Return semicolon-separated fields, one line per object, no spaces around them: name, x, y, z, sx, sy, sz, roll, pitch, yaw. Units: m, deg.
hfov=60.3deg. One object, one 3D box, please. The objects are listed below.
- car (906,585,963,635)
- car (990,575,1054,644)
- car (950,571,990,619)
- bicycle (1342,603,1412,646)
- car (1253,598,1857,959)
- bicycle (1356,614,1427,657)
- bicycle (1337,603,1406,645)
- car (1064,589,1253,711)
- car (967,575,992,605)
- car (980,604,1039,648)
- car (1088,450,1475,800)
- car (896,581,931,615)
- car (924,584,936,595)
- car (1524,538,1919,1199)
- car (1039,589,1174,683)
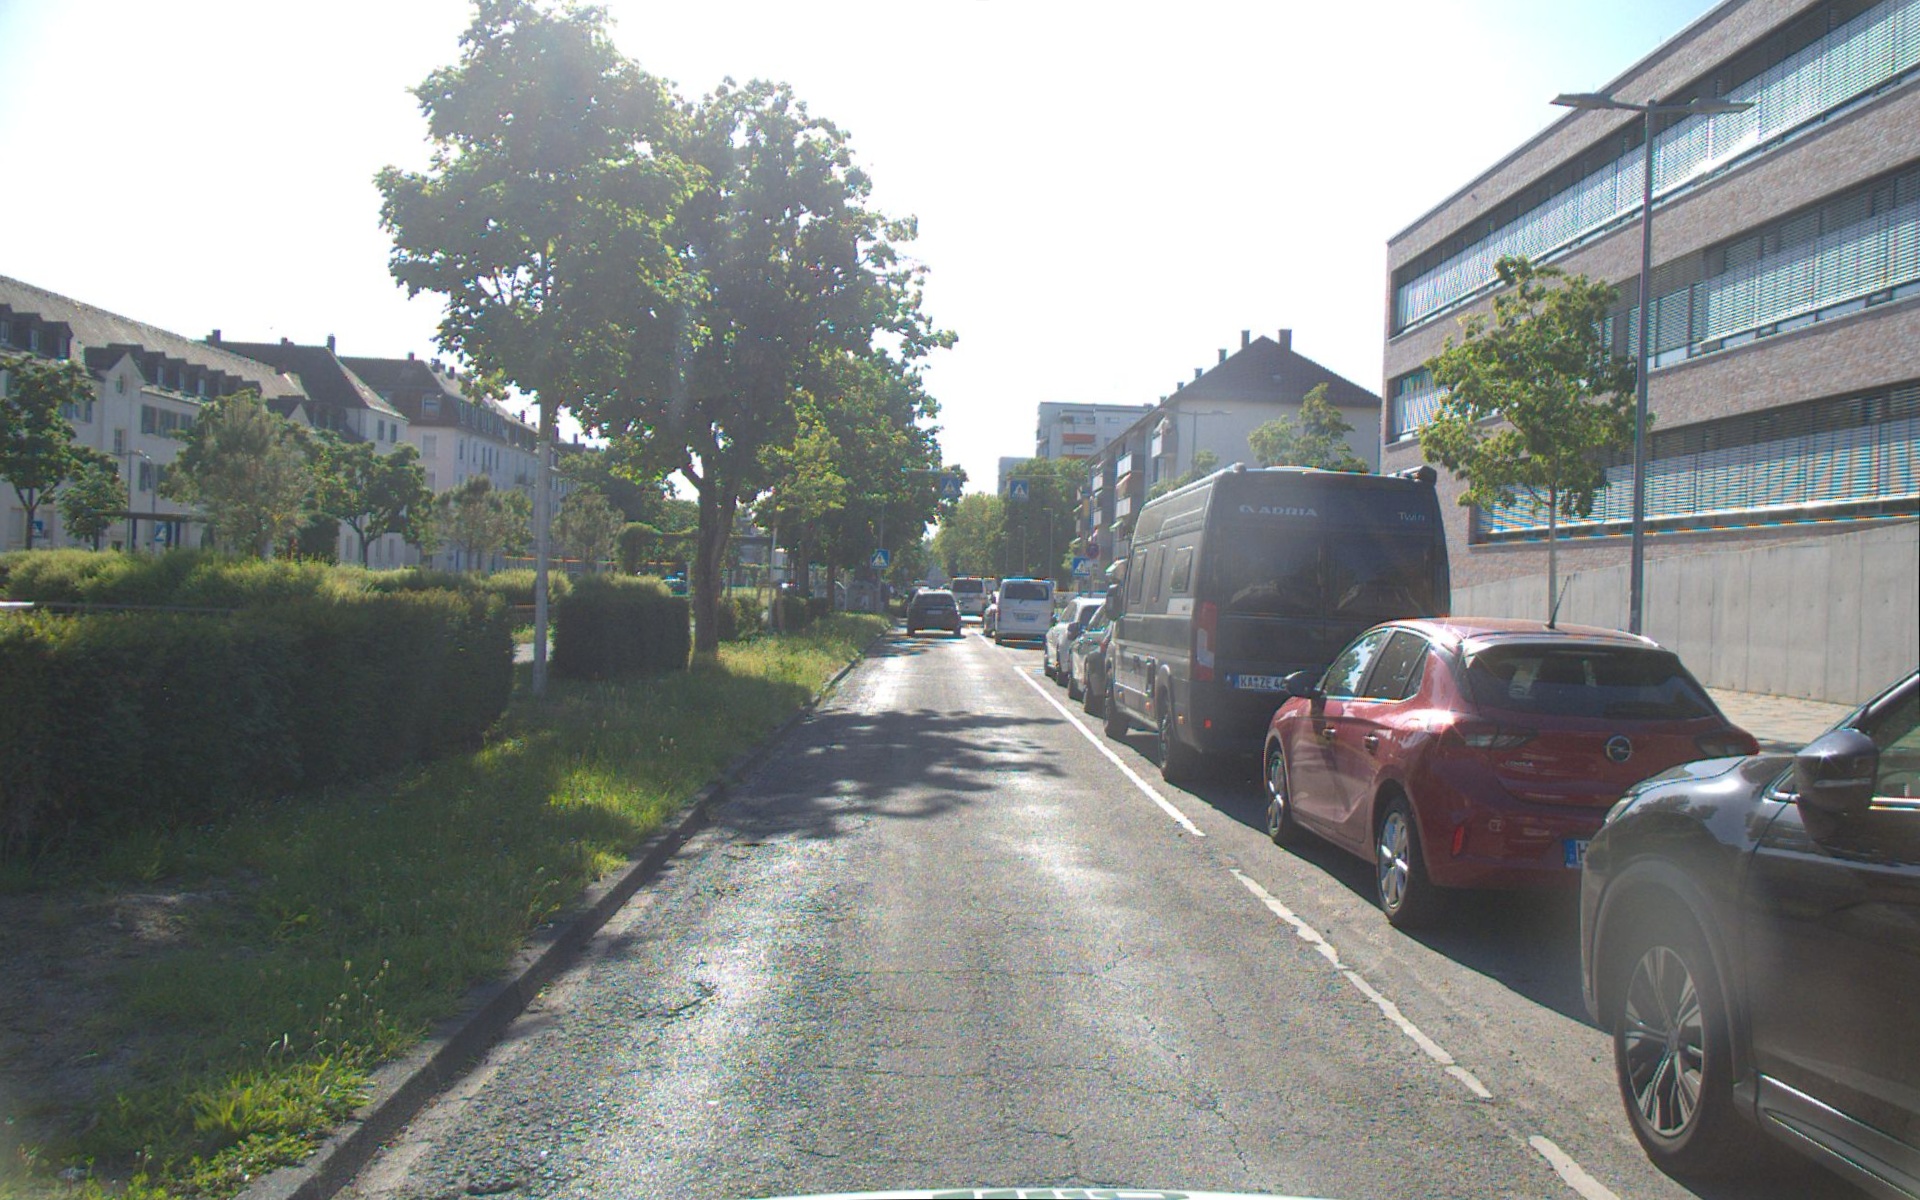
car;-0.844;0.299;54.663;1.758;1.536;3.999;2;0;-1
car;1.783;0.250;48.946;1.757;1.887;4.414;2;1;1
car;0.458;-0.252;77.631;1.758;2.159;3.999;2;0;-1
bicycle;11.312;0.667;44.876;1.758;1.127;0.500;-1;0;-4
car;2.896;0.763;9.033;1.758;1.480;3.948;1;0;-2
bicycle;11.507;0.941;44.078;1.758;1.127;0.500;-1;0;-4
bicycle;11.307;0.663;45.426;1.758;1.127;0.500;-1;0;-4
car;2.578;0.604;22.595;1.953;1.445;4.635;1;0;-1
car;1.721;-0.914;147.176;1.953;2.472;4.499;3;0;-1
car;1.613;0.843;55.262;1.729;1.342;4.167;3;0;-1
car;2.656;0.169;15.605;2.073;2.559;6.529;1;0;-3
car;-2.421;-0.108;86.790;1.758;1.652;3.999;2;0;-1
car;-4.391;-1.532;242.032;1.758;1.536;3.999;1;0;-1
car;2.902;0.728;3.374;1.809;1.669;4.502;1;0;-2
car;2.440;0.562;28.621;1.758;1.445;4.656;1;0;-2
